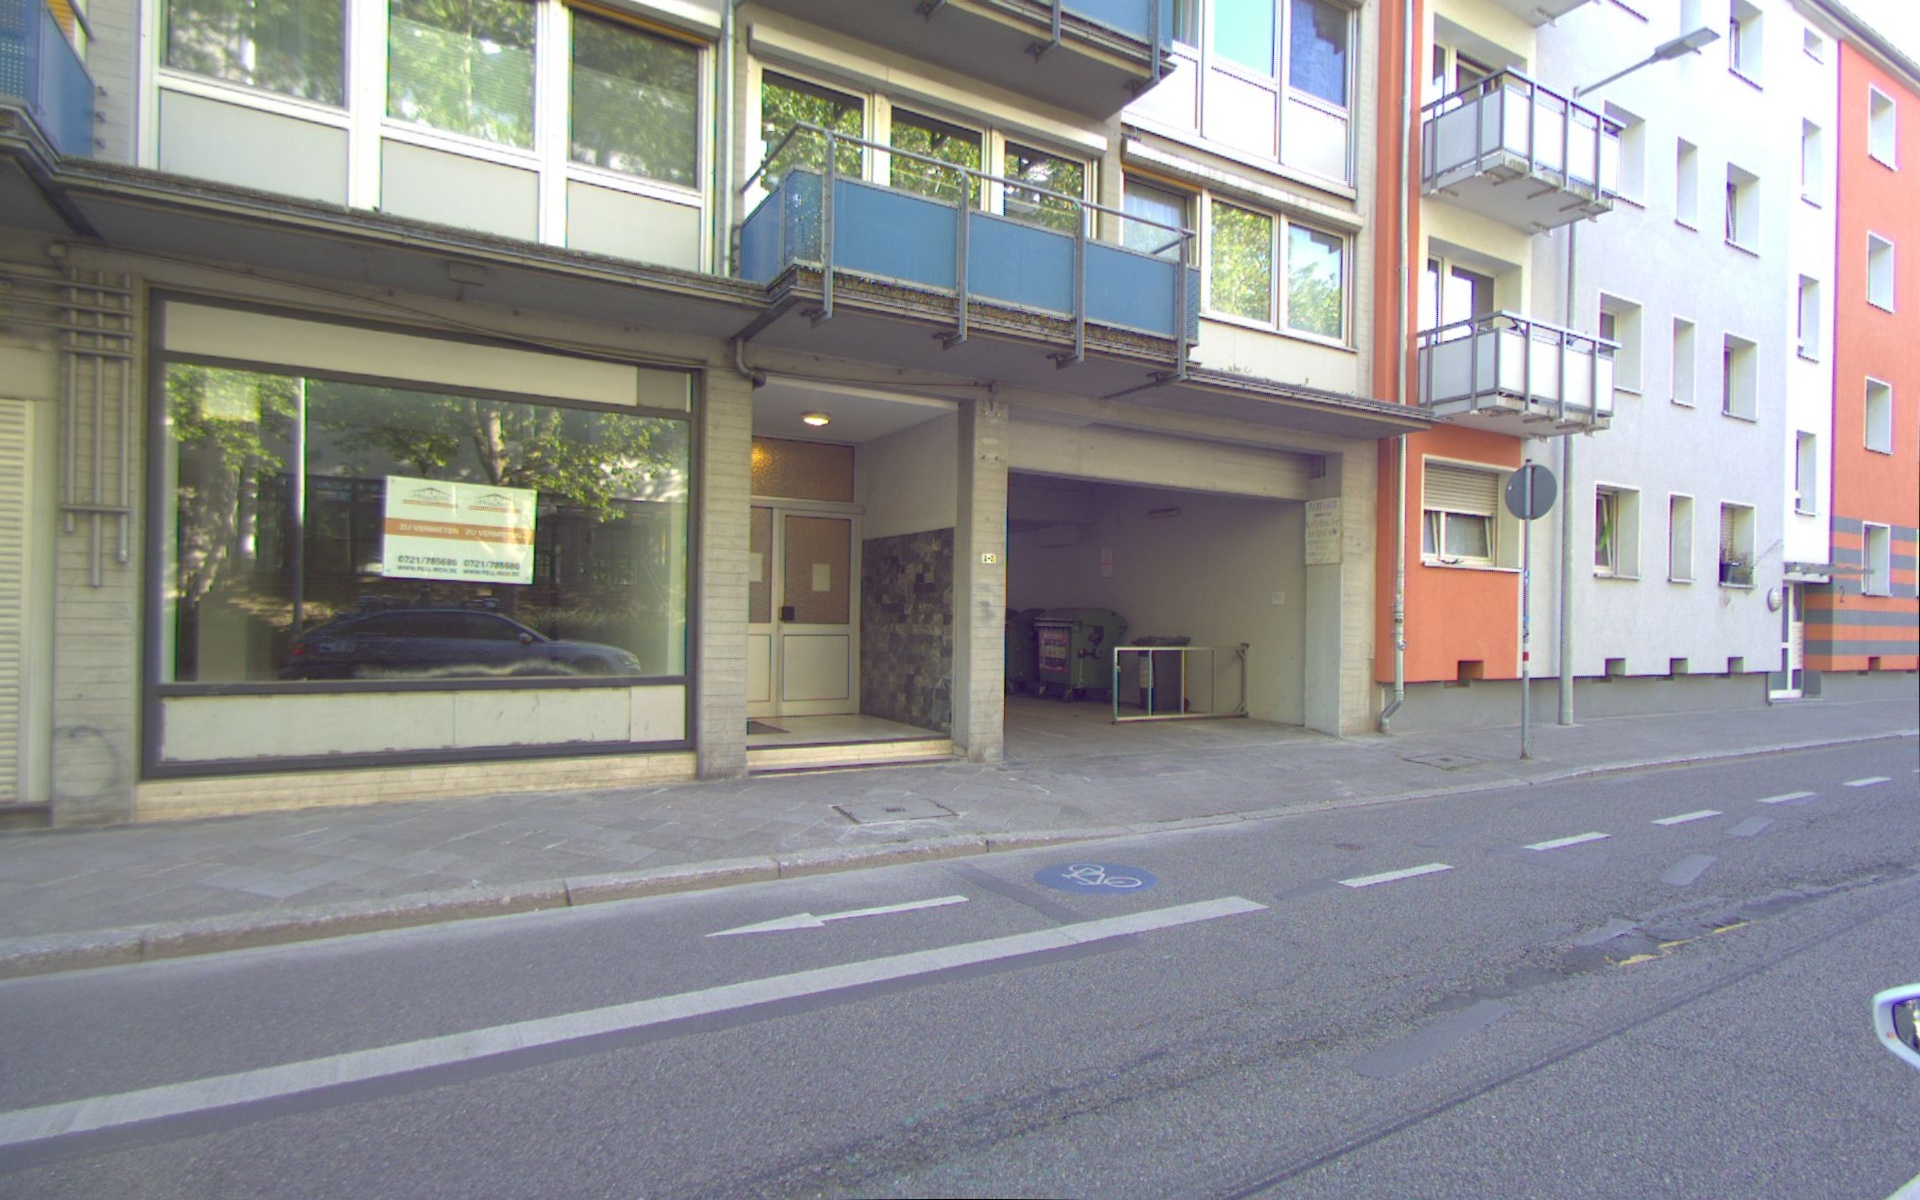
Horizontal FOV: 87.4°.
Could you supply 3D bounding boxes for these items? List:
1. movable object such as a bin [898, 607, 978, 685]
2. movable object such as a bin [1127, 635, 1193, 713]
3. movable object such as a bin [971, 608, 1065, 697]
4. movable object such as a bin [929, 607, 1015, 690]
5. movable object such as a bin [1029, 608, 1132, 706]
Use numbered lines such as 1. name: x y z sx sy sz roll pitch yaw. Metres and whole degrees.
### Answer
1. movable object such as a bin: -0.442 0.876 19.617 1.116 1.444 1.201 1 0 -30
2. movable object such as a bin: 2.885 1.050 14.500 0.667 1.079 0.639 1 0 -30
3. movable object such as a bin: 0.976 0.863 17.170 1.116 1.444 1.201 1 0 -30
4. movable object such as a bin: 0.206 0.869 18.468 1.116 1.444 1.201 1 0 -30
5. movable object such as a bin: 1.888 0.868 15.811 1.116 1.444 1.201 1 0 -30
